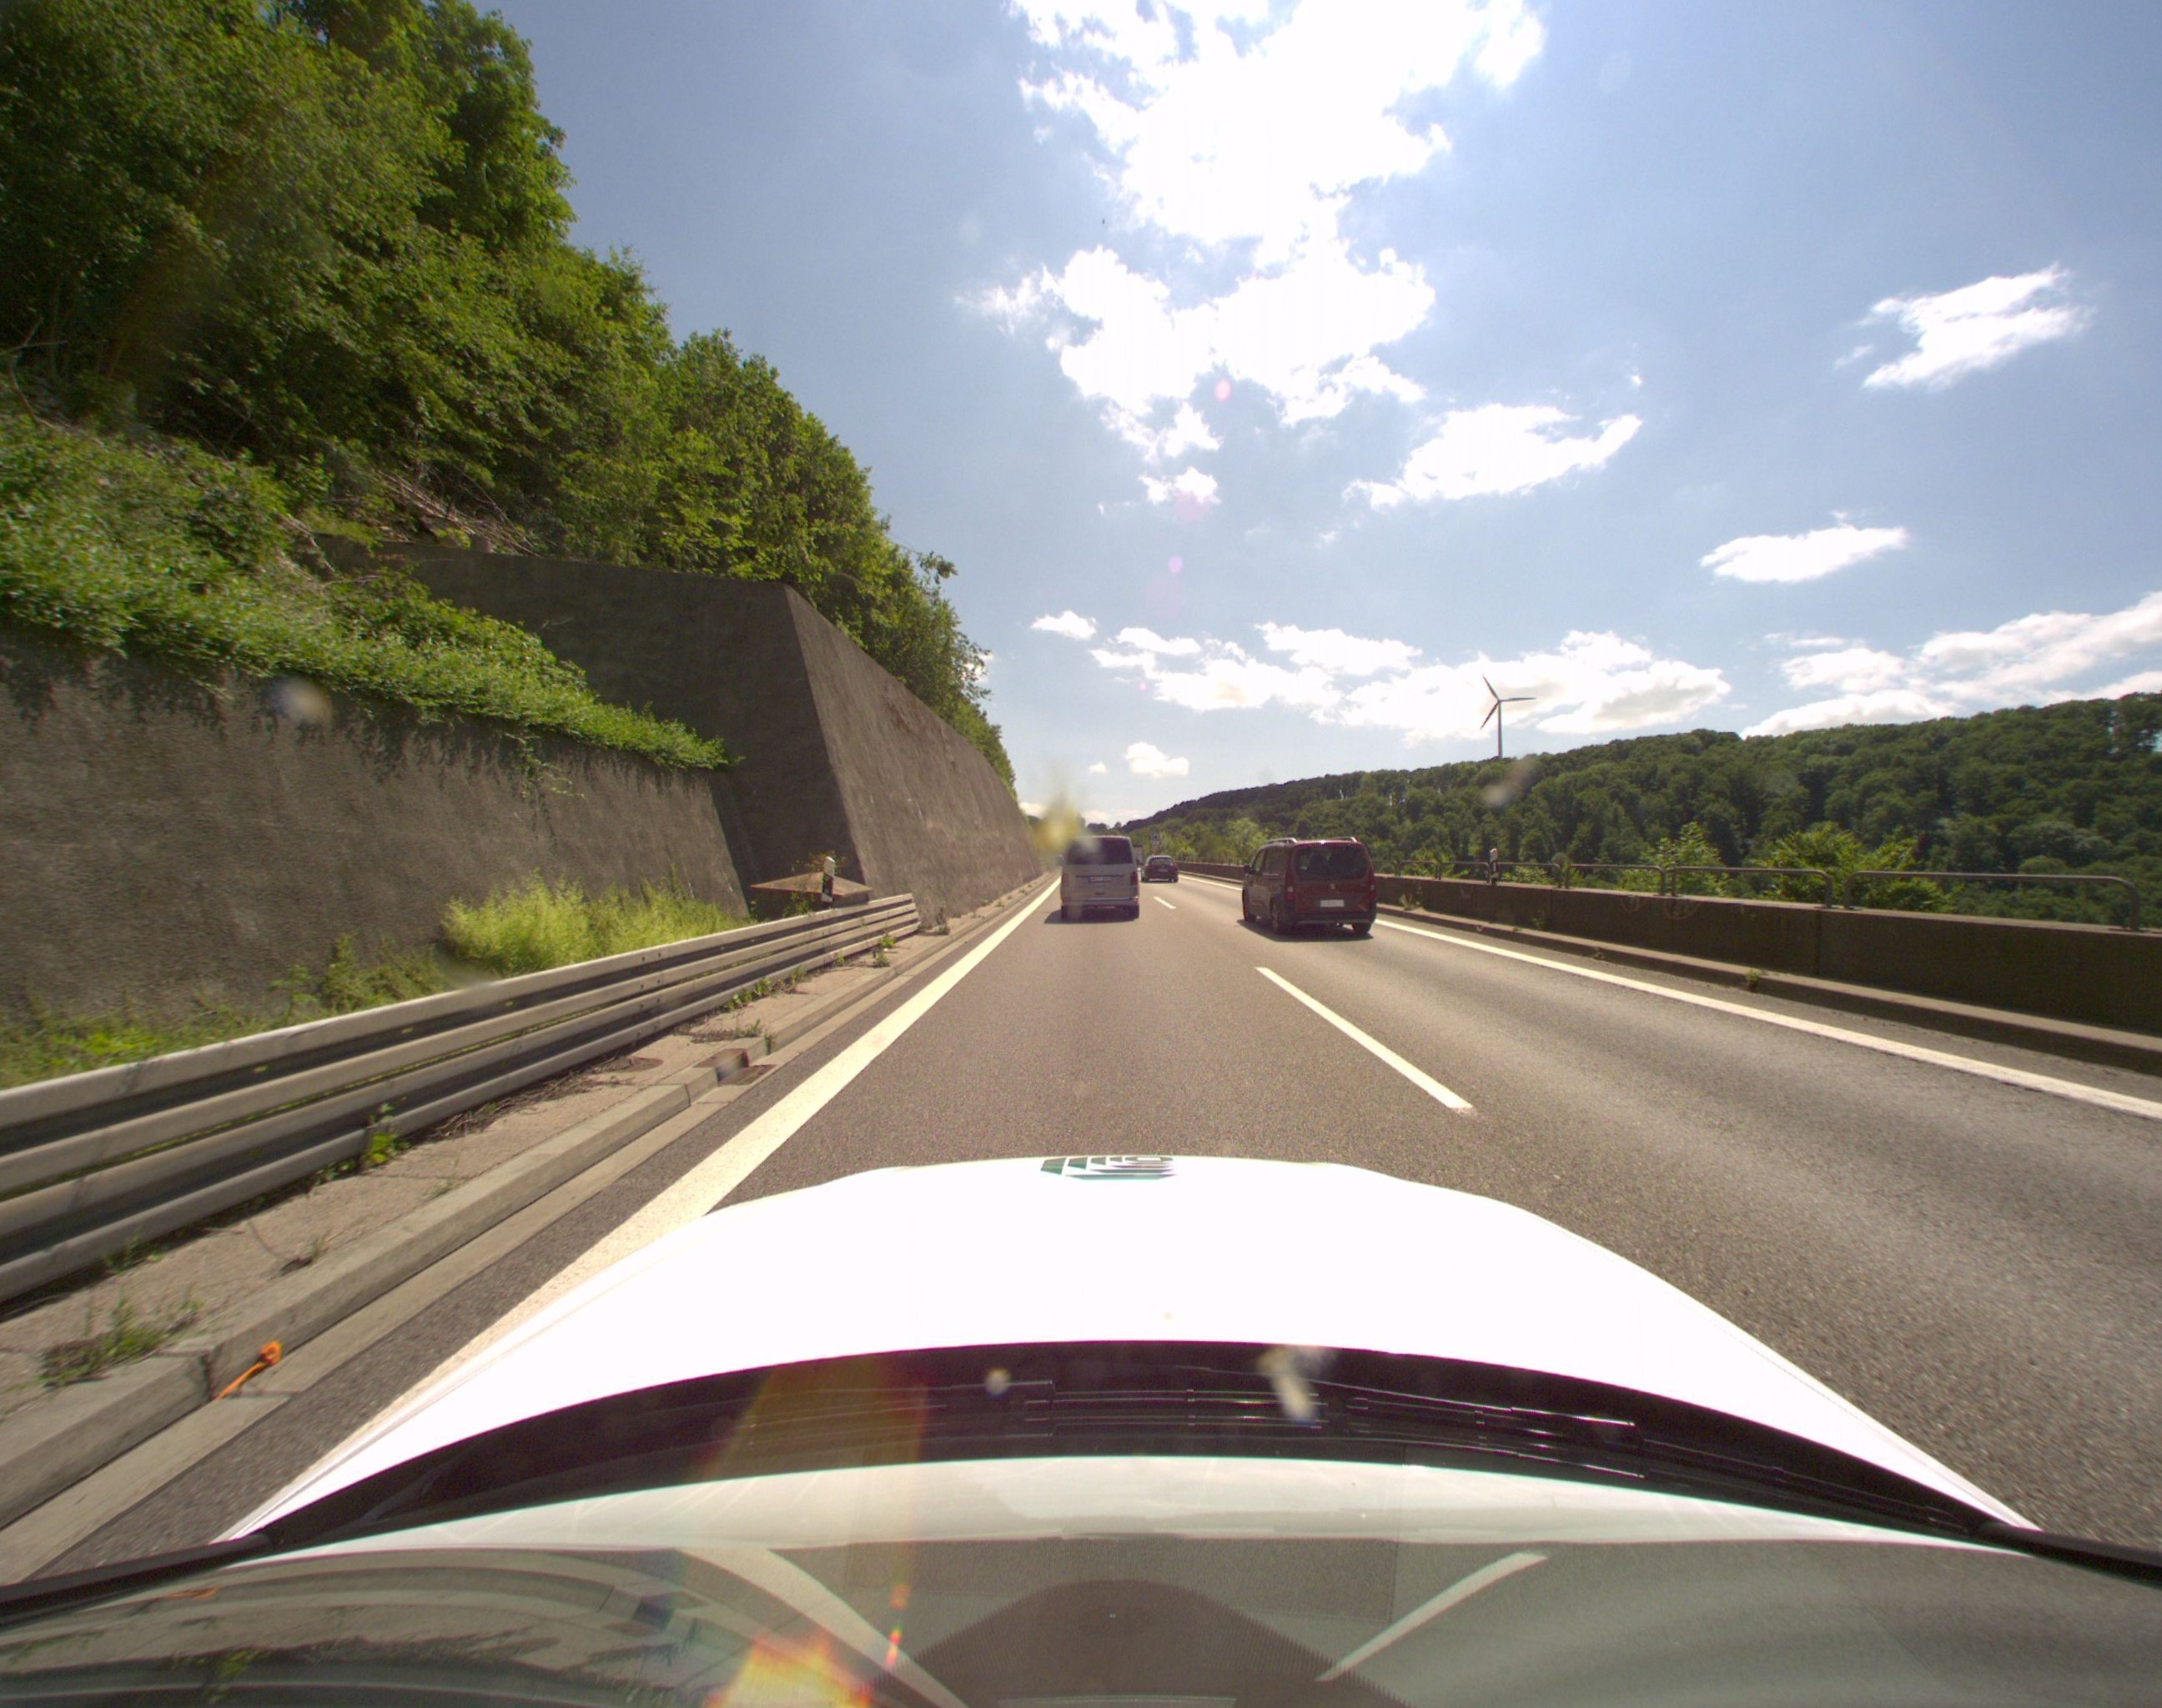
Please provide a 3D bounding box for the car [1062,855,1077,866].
[{"bbox_3d":[-1.793,0.910,123.060,2.138,1.607,5.073,-1,0,-3],"label":"car"}]

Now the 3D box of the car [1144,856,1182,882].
[{"bbox_3d":[4.459,0.806,44.745,1.763,1.375,3.592,-1,0,0],"label":"car"}]

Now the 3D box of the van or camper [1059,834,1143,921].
[{"bbox_3d":[0.526,0.537,20.674,1.868,1.949,4.295,-1,0,2],"label":"van or camper"}]

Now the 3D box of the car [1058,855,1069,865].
[{"bbox_3d":[-3.638,1.236,167.863,1.987,2.014,4.000,-2,-1,0],"label":"car"}]

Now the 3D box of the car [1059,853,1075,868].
[{"bbox_3d":[-1.768,0.844,106.051,1.987,1.915,4.000,-1,0,1],"label":"car"}]

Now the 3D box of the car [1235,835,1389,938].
[{"bbox_3d":[4.558,0.597,16.830,1.827,1.784,4.675,-2,-1,0],"label":"car"}]

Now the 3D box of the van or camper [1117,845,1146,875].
[{"bbox_3d":[4.571,0.521,73.996,2.257,2.551,4.735,-2,0,0],"label":"van or camper"}]

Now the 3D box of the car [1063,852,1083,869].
[{"bbox_3d":[-0.870,0.667,87.469,1.988,1.817,3.997,-1,0,-2],"label":"car"}]

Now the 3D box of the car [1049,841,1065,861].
[{"bbox_3d":[-6.264,-0.790,210.424,4.033,4.871,10.101,-1,0,-2],"label":"car"}]
